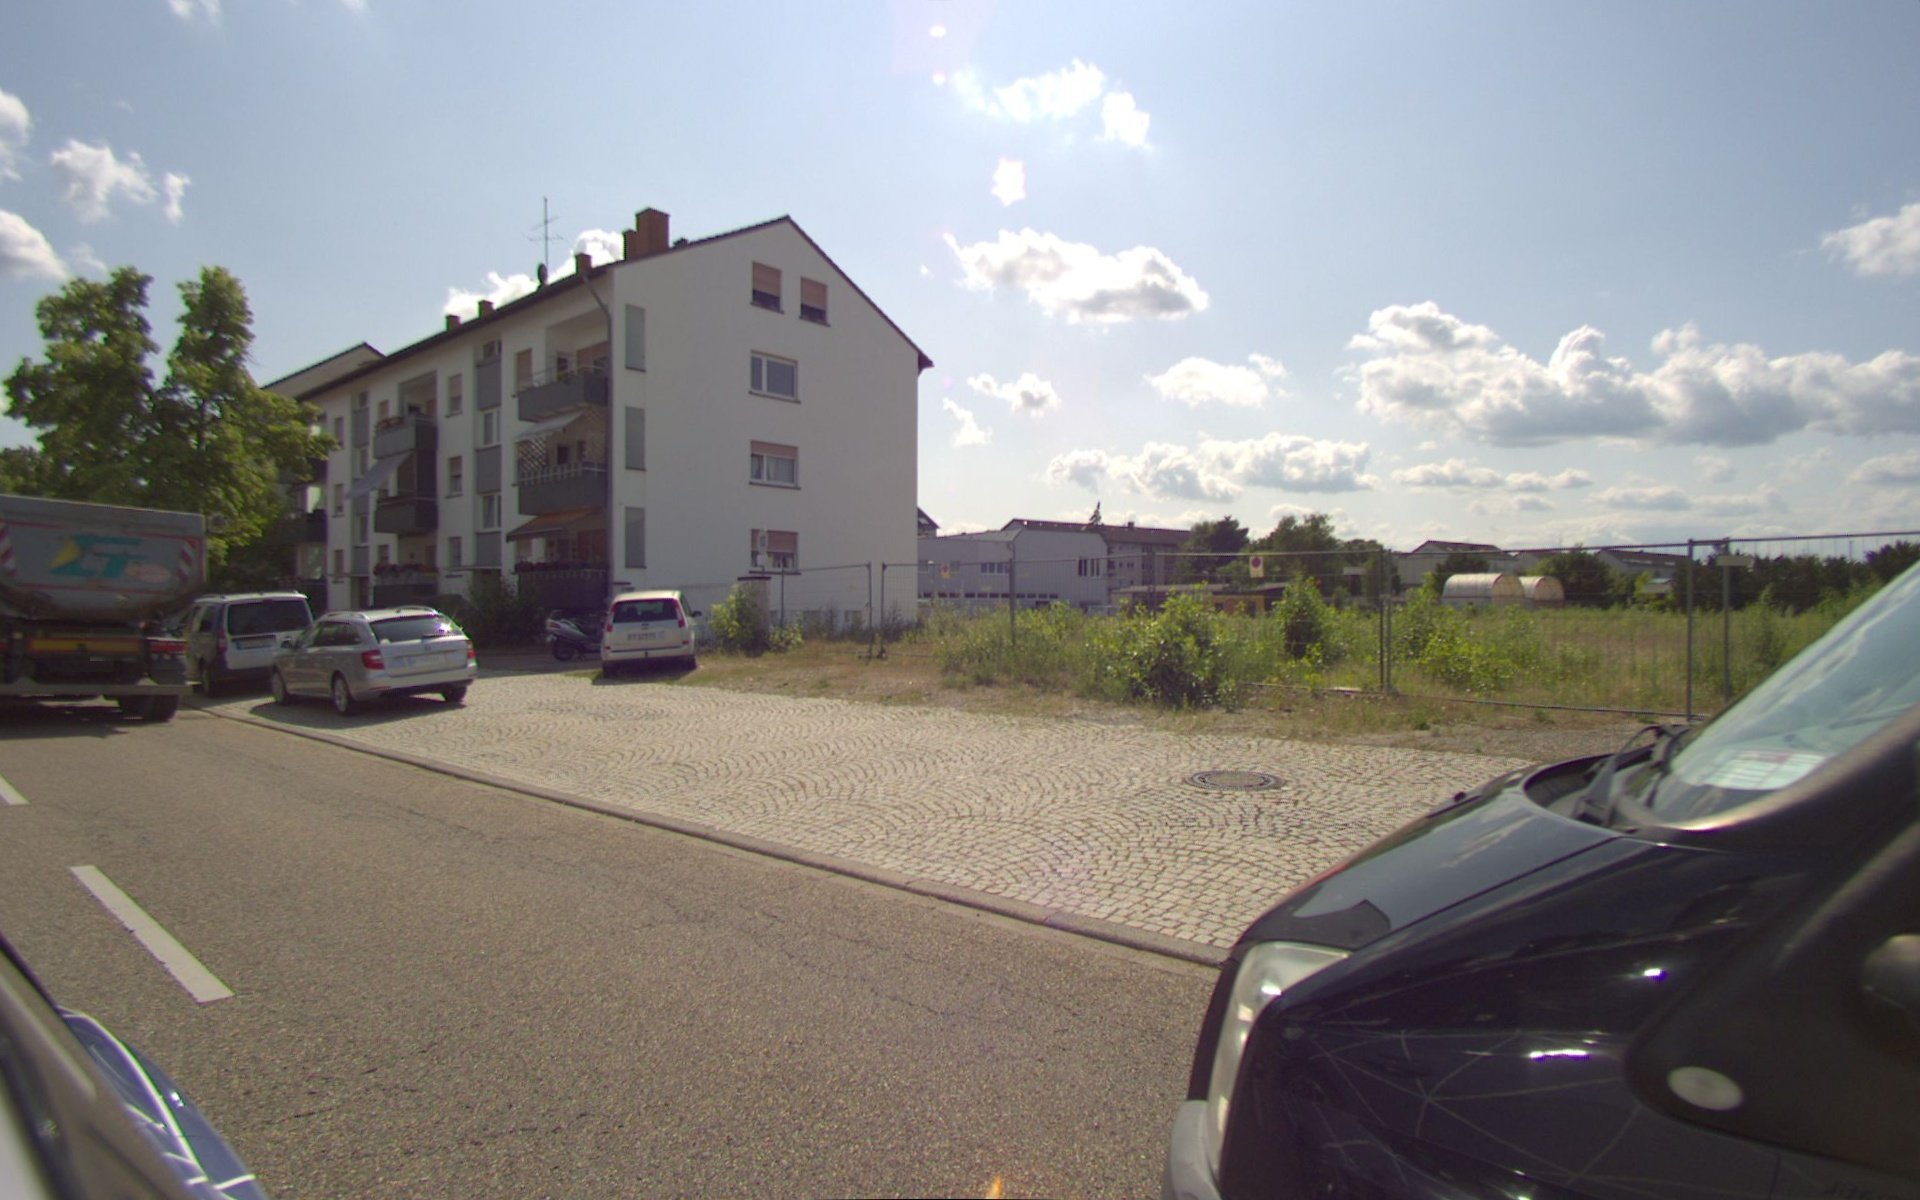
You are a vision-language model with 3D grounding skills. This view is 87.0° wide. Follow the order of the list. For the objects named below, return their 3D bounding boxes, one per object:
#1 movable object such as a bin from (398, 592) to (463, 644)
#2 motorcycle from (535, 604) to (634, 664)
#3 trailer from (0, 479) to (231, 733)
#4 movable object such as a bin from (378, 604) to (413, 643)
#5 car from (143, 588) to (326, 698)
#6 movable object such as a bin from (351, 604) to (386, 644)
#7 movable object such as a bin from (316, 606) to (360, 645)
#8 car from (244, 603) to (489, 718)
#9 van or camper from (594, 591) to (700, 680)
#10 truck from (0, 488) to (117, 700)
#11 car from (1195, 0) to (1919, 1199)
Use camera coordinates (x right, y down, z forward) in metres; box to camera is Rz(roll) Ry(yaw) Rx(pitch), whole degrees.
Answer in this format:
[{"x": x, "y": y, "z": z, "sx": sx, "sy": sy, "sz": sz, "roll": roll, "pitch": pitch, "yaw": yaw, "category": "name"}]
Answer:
[{"x": -15.963, "y": 0.547, "z": 30.507, "sx": 1.264, "sy": 1.394, "sz": 1.258, "roll": -8, "pitch": -3, "yaw": 41, "category": "movable object such as a bin"}, {"x": -8.700, "y": 0.767, "z": 23.525, "sx": 0.677, "sy": 1.258, "sz": 2.071, "roll": -1, "pitch": 1, "yaw": 41, "category": "motorcycle"}, {"x": -14.558, "y": 0.106, "z": 15.933, "sx": 8.880, "sy": 3.092, "sz": 2.806, "roll": 0, "pitch": -1, "yaw": 39, "category": "trailer"}, {"x": -18.105, "y": 0.752, "z": 32.458, "sx": 0.806, "sy": 1.223, "sz": 0.742, "roll": -3, "pitch": -2, "yaw": 41, "category": "movable object such as a bin"}, {"x": -14.023, "y": 0.747, "z": 19.464, "sx": 4.488, "sy": 1.819, "sz": 1.791, "roll": -1, "pitch": 3, "yaw": 41, "category": "car"}, {"x": -18.641, "y": 0.746, "z": 31.896, "sx": 0.806, "sy": 1.223, "sz": 0.742, "roll": -3, "pitch": -2, "yaw": 41, "category": "movable object such as a bin"}, {"x": -19.184, "y": 0.797, "z": 31.217, "sx": 0.824, "sy": 1.158, "sz": 0.944, "roll": -3, "pitch": -2, "yaw": 41, "category": "movable object such as a bin"}, {"x": -9.461, "y": 0.891, "z": 15.965, "sx": 4.703, "sy": 1.472, "sz": 1.732, "roll": -2, "pitch": 2, "yaw": 39, "category": "car"}, {"x": -6.213, "y": 0.620, "z": 20.456, "sx": 1.751, "sy": 1.554, "sz": 4.011, "roll": -1, "pitch": 1, "yaw": -13, "category": "van or camper"}, {"x": -18.156, "y": -0.081, "z": 18.898, "sx": 5.877, "sy": 3.525, "sz": 2.744, "roll": -1, "pitch": -1, "yaw": 40, "category": "truck"}, {"x": 2.867, "y": 0.422, "z": 0.270, "sx": 5.139, "sy": 2.050, "sz": 2.029, "roll": 0, "pitch": -2, "yaw": 41, "category": "car"}]
